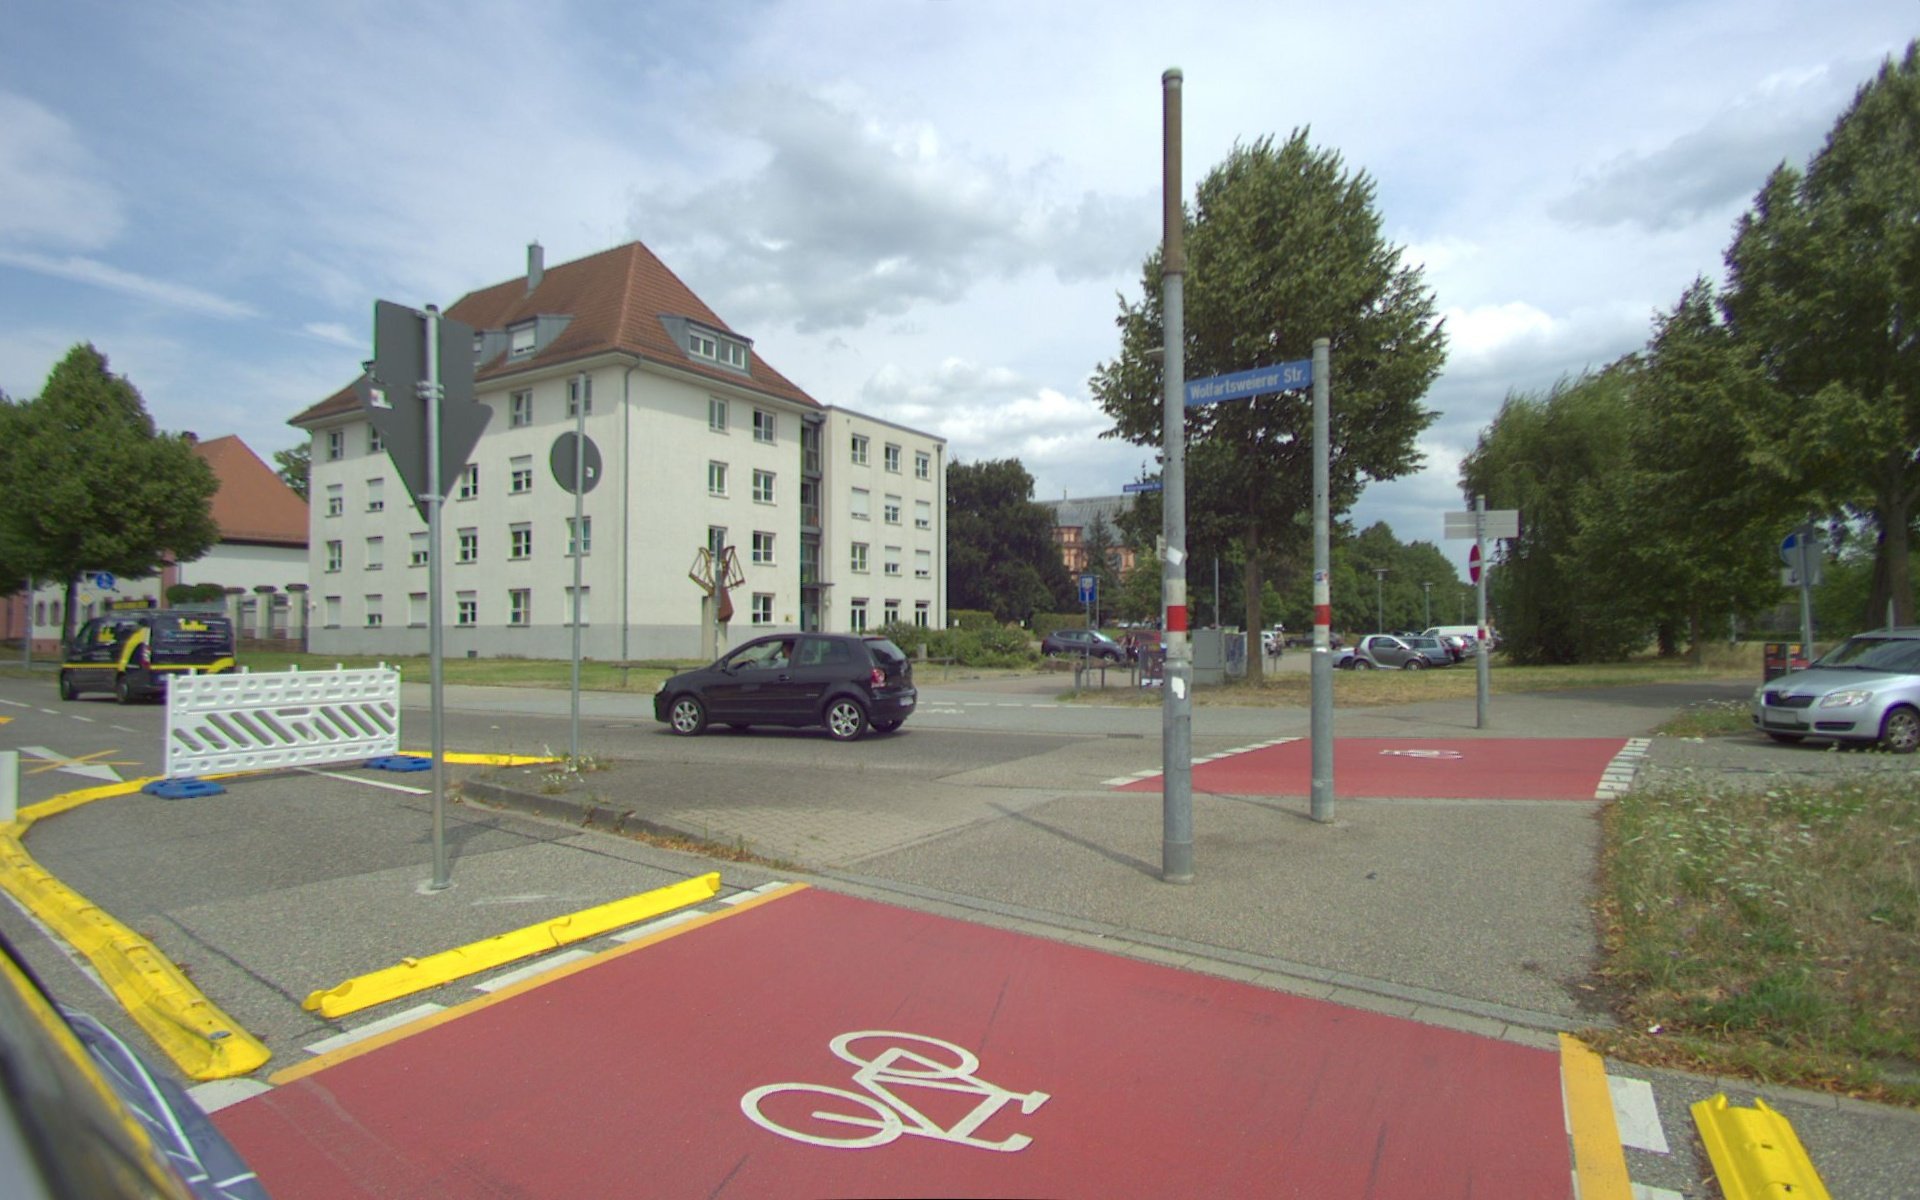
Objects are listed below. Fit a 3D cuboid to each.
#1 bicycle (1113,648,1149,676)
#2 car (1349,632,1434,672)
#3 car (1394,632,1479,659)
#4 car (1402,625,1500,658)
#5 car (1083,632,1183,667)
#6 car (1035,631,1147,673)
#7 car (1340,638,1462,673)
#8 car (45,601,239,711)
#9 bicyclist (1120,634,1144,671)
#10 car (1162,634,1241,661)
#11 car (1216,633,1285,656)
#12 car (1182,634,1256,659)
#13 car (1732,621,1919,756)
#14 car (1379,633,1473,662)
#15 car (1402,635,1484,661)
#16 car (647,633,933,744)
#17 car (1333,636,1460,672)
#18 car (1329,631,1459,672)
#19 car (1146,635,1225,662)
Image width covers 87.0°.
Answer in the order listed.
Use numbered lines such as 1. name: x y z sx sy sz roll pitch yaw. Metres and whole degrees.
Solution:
1. bicycle: 6.786 2.435 40.043 0.601 1.054 1.805 -2 -3 39
2. car: 16.780 2.047 39.348 2.900 1.434 1.471 -4 -4 26
3. car: 27.738 2.633 58.906 4.298 1.482 1.813 -1 -2 33
4. car: 31.694 2.670 65.398 5.548 2.072 2.178 -1 -2 30
5. car: 8.403 2.378 49.268 4.394 1.610 1.977 -2 -2 33
6. car: 5.750 2.256 44.512 4.484 1.778 1.979 -1 -2 31
7. car: 20.116 2.495 46.244 4.873 1.482 1.813 -1 -2 33
8. car: -18.869 1.250 23.285 5.145 2.290 1.978 -2 -2 33
9. bicyclist: 6.823 2.076 40.112 0.601 1.434 0.793 -2 -3 39
10. car: 13.740 2.706 57.658 3.993 1.479 1.798 -2 -2 31
11. car: 19.047 2.895 66.387 3.993 1.479 1.798 -1 -2 31
12. car: 15.621 2.779 61.009 3.993 1.479 1.798 -1 -2 31
13. car: 12.244 1.034 12.679 4.150 1.530 1.632 0 -2 -9
14. car: 25.080 2.551 54.491 4.373 1.482 1.813 -1 -2 33
15. car: 29.144 2.896 61.084 4.298 1.482 1.813 -1 -2 33
16. car: -2.383 1.219 14.397 3.690 1.426 1.623 -1 -4 17
17. car: 18.992 2.308 44.148 4.873 1.482 1.813 -1 -2 33
18. car: 17.834 2.132 41.648 4.687 1.482 1.815 -4 -3 30
19. car: 12.459 2.663 55.971 3.993 1.479 1.598 -1 -2 31
